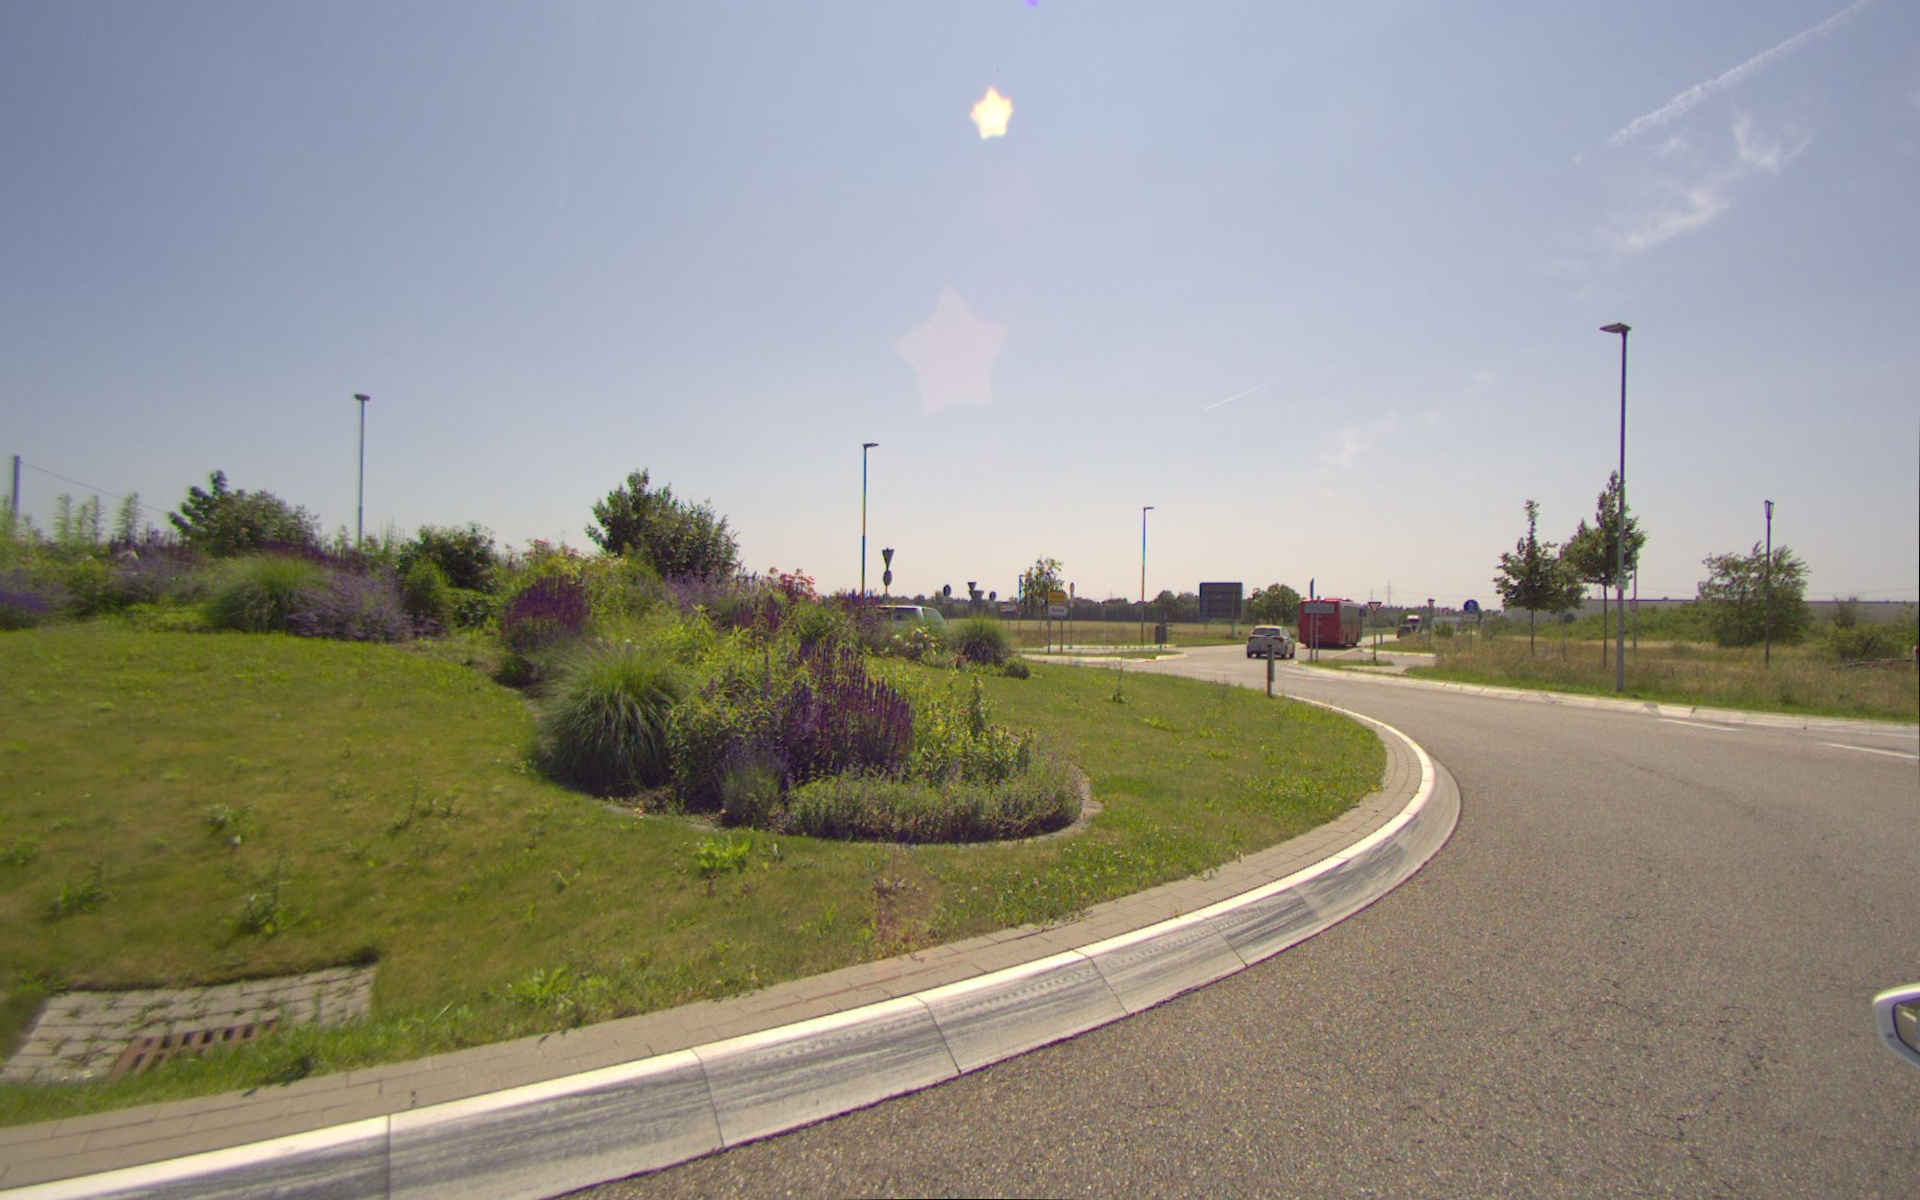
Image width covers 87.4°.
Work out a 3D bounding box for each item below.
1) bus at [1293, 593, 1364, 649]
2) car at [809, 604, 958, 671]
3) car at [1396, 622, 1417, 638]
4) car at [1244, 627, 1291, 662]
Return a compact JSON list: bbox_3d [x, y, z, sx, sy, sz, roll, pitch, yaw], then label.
[{"bbox_3d":[24.775,1.420,67.068,3.252,3.352,11.979,1,-1,26],"label":"bus"},{"bbox_3d":[-2.150,0.997,27.702,3.938,1.696,1.771,0,-1,38],"label":"car"},{"bbox_3d":[54.855,3.661,123.433,1.964,1.951,3.994,1,-1,29],"label":"car"},{"bbox_3d":[13.947,1.978,45.519,1.695,1.483,3.601,1,-1,22],"label":"car"}]
